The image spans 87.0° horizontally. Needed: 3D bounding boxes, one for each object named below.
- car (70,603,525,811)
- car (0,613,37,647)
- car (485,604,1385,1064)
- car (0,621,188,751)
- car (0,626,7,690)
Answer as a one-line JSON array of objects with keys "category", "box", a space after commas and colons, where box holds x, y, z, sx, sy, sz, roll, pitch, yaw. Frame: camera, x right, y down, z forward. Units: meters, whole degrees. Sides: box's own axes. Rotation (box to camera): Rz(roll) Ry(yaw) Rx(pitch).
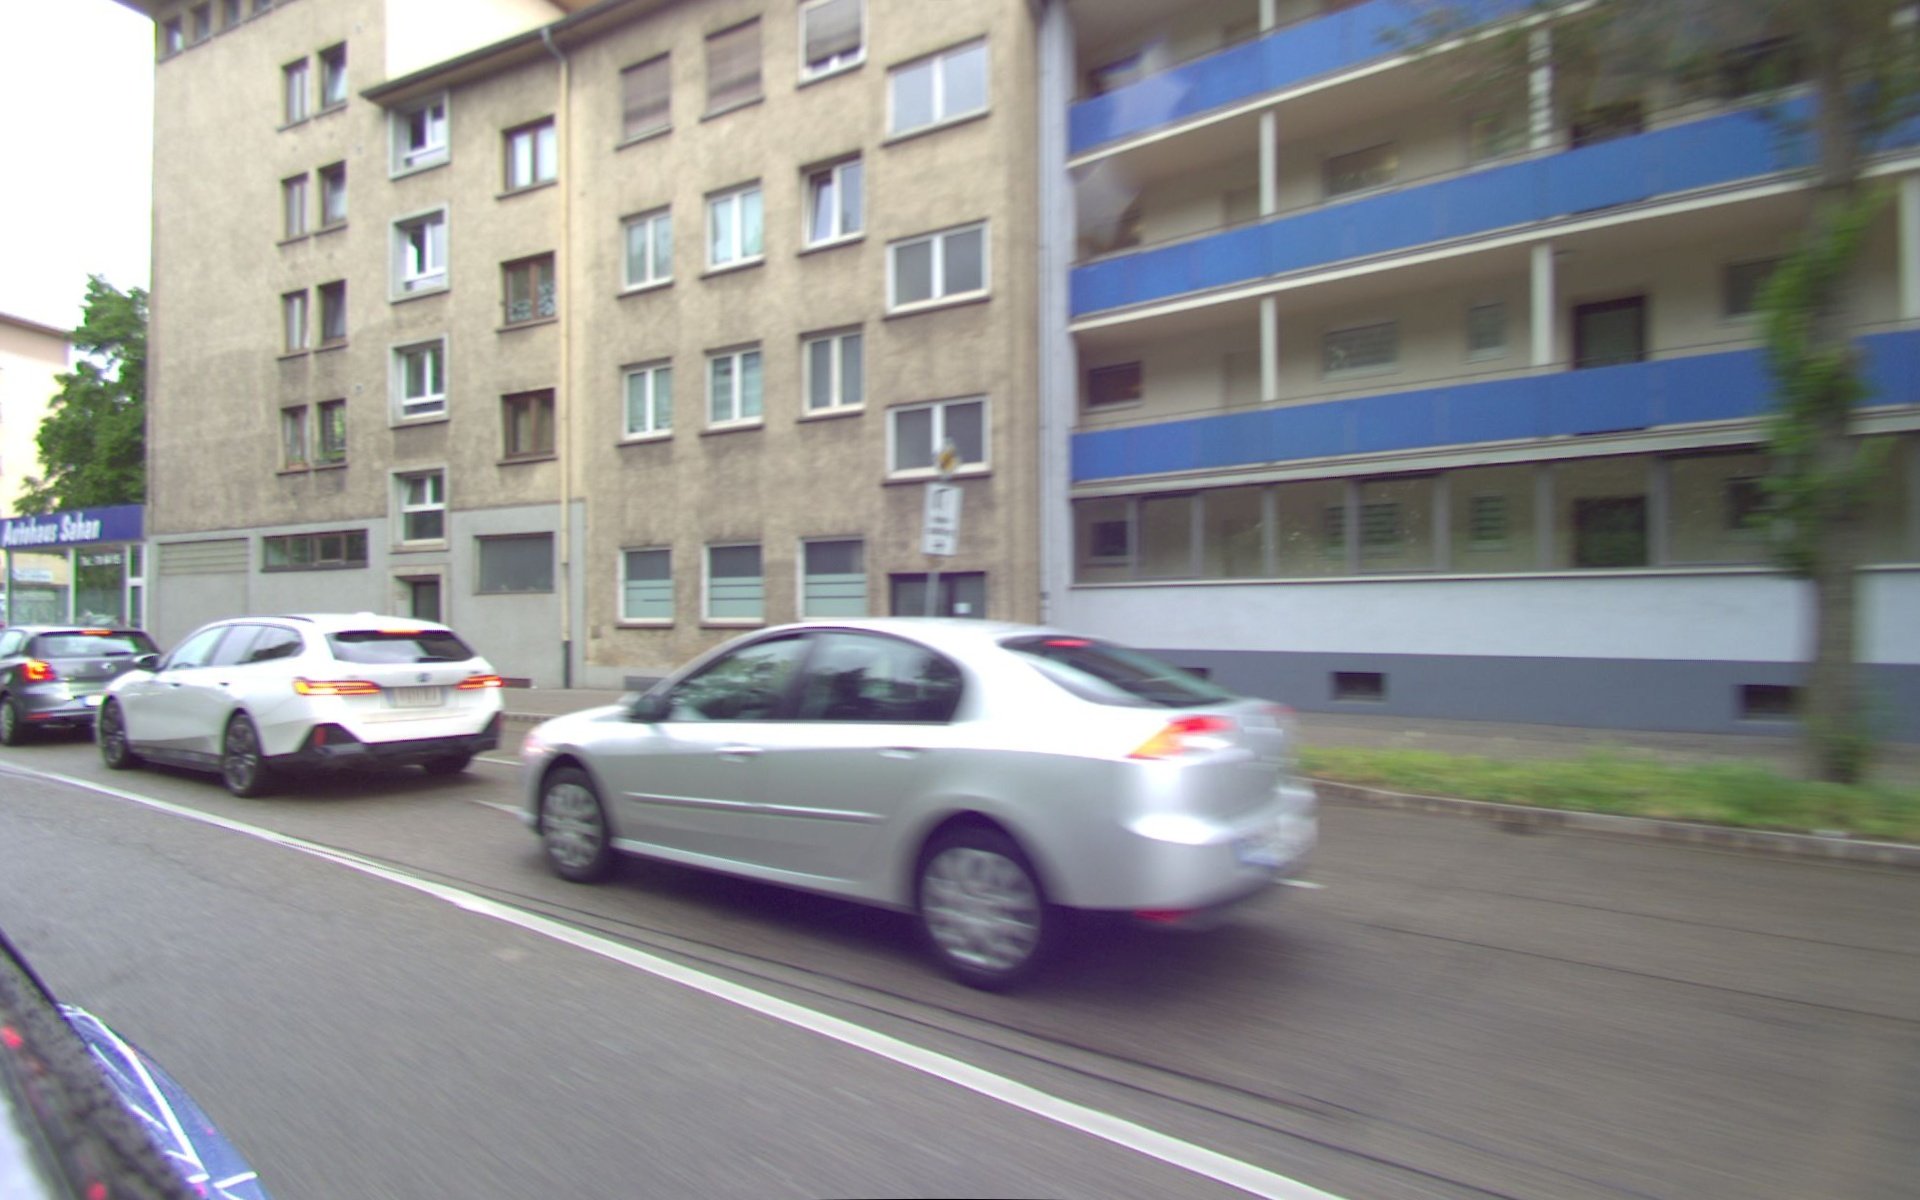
[{"category": "car", "box": [-6.458, 0.855, 9.652, 5.014, 1.528, 1.805, -1, -2, 34]}, {"category": "car", "box": [-49.952, 1.509, 51.604, 4.223, 1.660, 1.759, 1, 0, 1]}, {"category": "car", "box": [-0.409, 0.779, 5.219, 4.527, 1.436, 1.737, -1, -1, 36]}, {"category": "car", "box": [-11.853, 1.019, 13.090, 3.806, 1.458, 1.667, -1, -2, 31]}, {"category": "car", "box": [-24.159, 1.337, 23.464, 3.977, 1.467, 1.649, -1, -3, 25]}]
